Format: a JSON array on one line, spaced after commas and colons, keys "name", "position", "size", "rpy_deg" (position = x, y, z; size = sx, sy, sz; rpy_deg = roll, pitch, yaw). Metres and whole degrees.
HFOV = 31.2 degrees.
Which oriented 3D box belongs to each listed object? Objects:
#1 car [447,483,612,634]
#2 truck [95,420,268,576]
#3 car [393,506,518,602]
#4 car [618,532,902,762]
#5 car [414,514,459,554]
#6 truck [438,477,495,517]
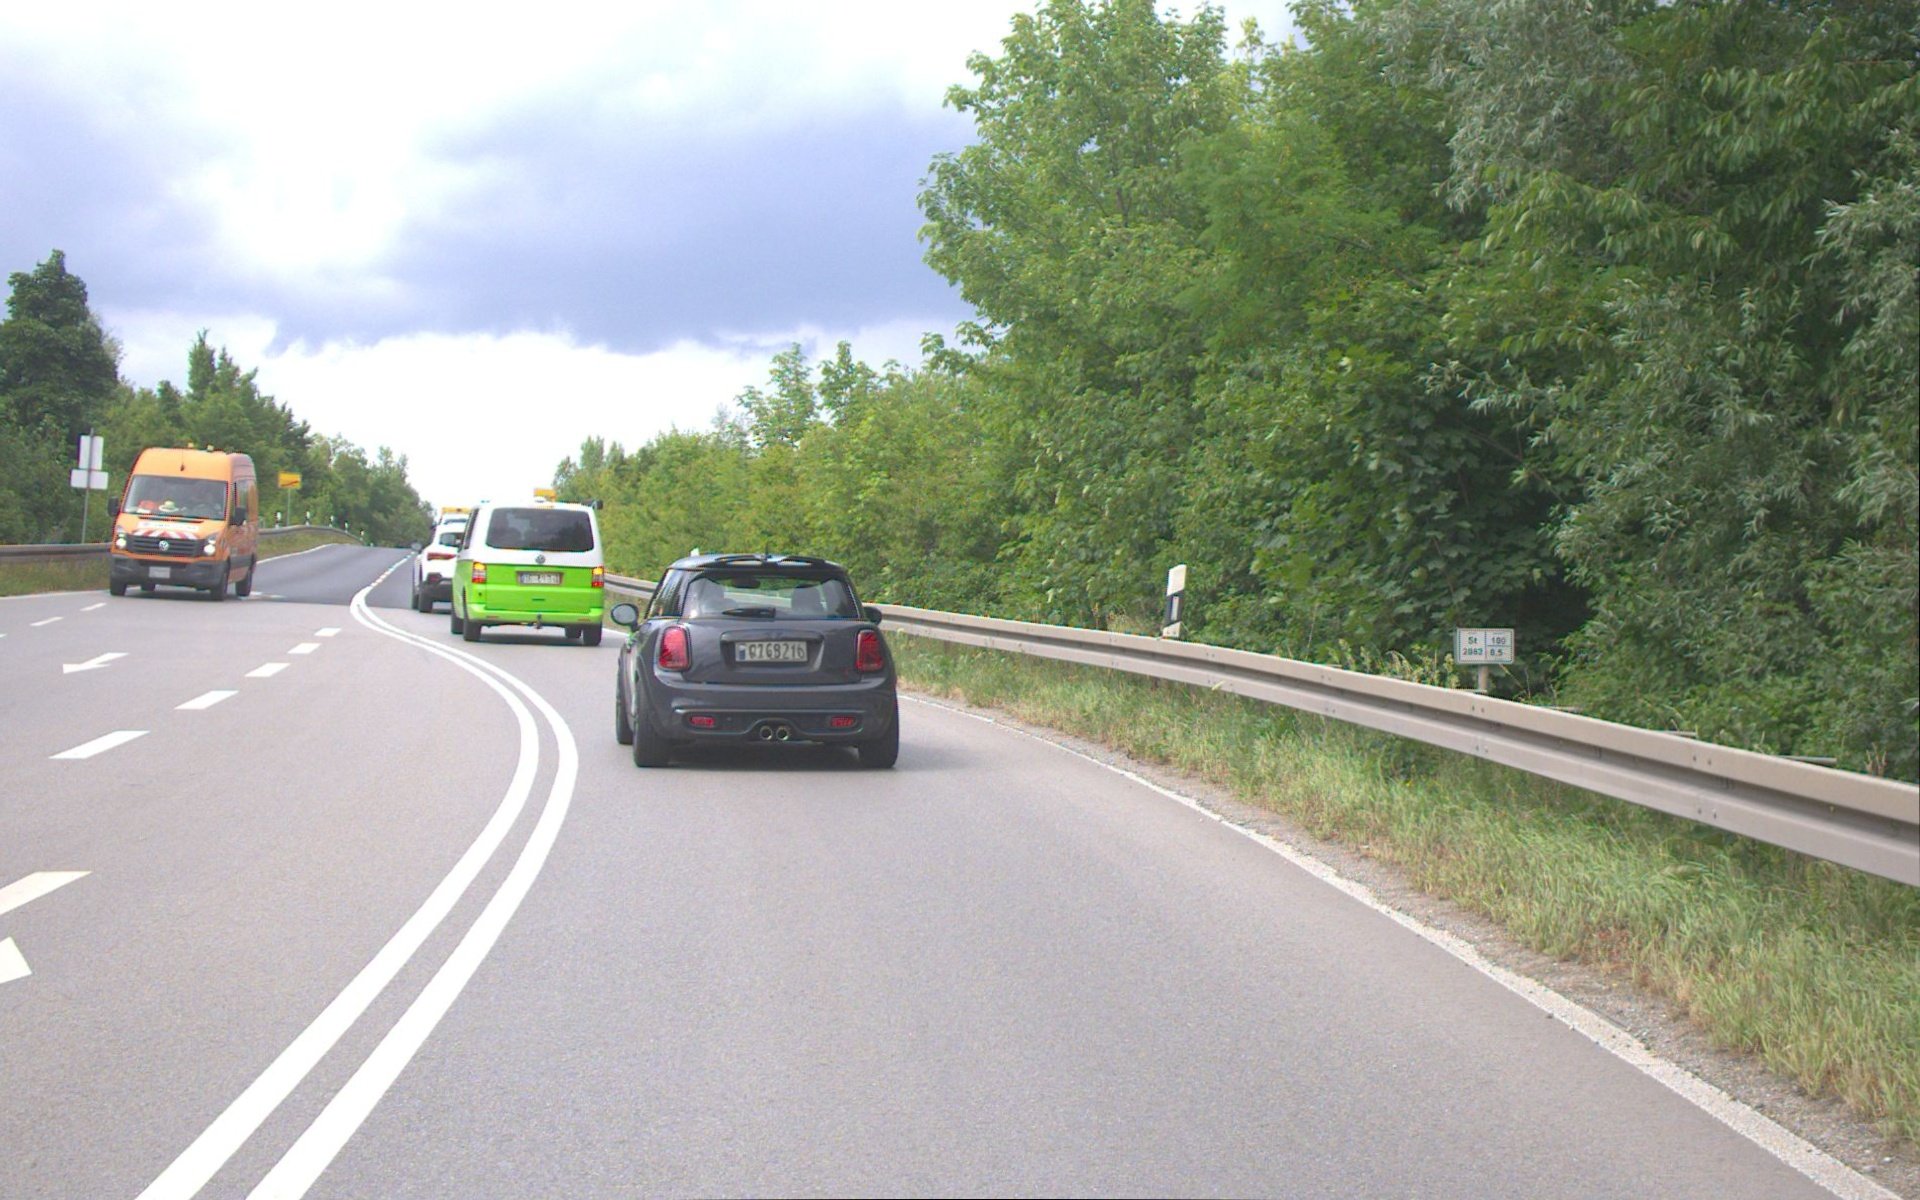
[{"name": "car", "position": [-6.055, -0.618, 48.022], "size": [2.021, 2.006, 4.001], "rpy_deg": [0, 2, -11]}, {"name": "truck", "position": [-13.795, -1.822, 61.252], "size": [2.315, 2.592, 6.025], "rpy_deg": [1, 2, -6]}, {"name": "car", "position": [-8.822, -0.836, 60.411], "size": [1.988, 1.613, 4.154], "rpy_deg": [1, 1, -6]}, {"name": "car", "position": [-1.476, 0.269, 24.085], "size": [1.731, 1.451, 4.001], "rpy_deg": [1, 1, -7]}, {"name": "car", "position": [-24.338, -3.071, 159.853], "size": [1.993, 1.792, 4.001], "rpy_deg": [1, 1, -8]}, {"name": "truck", "position": [-30.561, -6.336, 213.117], "size": [2.909, 2.364, 10.454], "rpy_deg": [1, 1, -5]}]
